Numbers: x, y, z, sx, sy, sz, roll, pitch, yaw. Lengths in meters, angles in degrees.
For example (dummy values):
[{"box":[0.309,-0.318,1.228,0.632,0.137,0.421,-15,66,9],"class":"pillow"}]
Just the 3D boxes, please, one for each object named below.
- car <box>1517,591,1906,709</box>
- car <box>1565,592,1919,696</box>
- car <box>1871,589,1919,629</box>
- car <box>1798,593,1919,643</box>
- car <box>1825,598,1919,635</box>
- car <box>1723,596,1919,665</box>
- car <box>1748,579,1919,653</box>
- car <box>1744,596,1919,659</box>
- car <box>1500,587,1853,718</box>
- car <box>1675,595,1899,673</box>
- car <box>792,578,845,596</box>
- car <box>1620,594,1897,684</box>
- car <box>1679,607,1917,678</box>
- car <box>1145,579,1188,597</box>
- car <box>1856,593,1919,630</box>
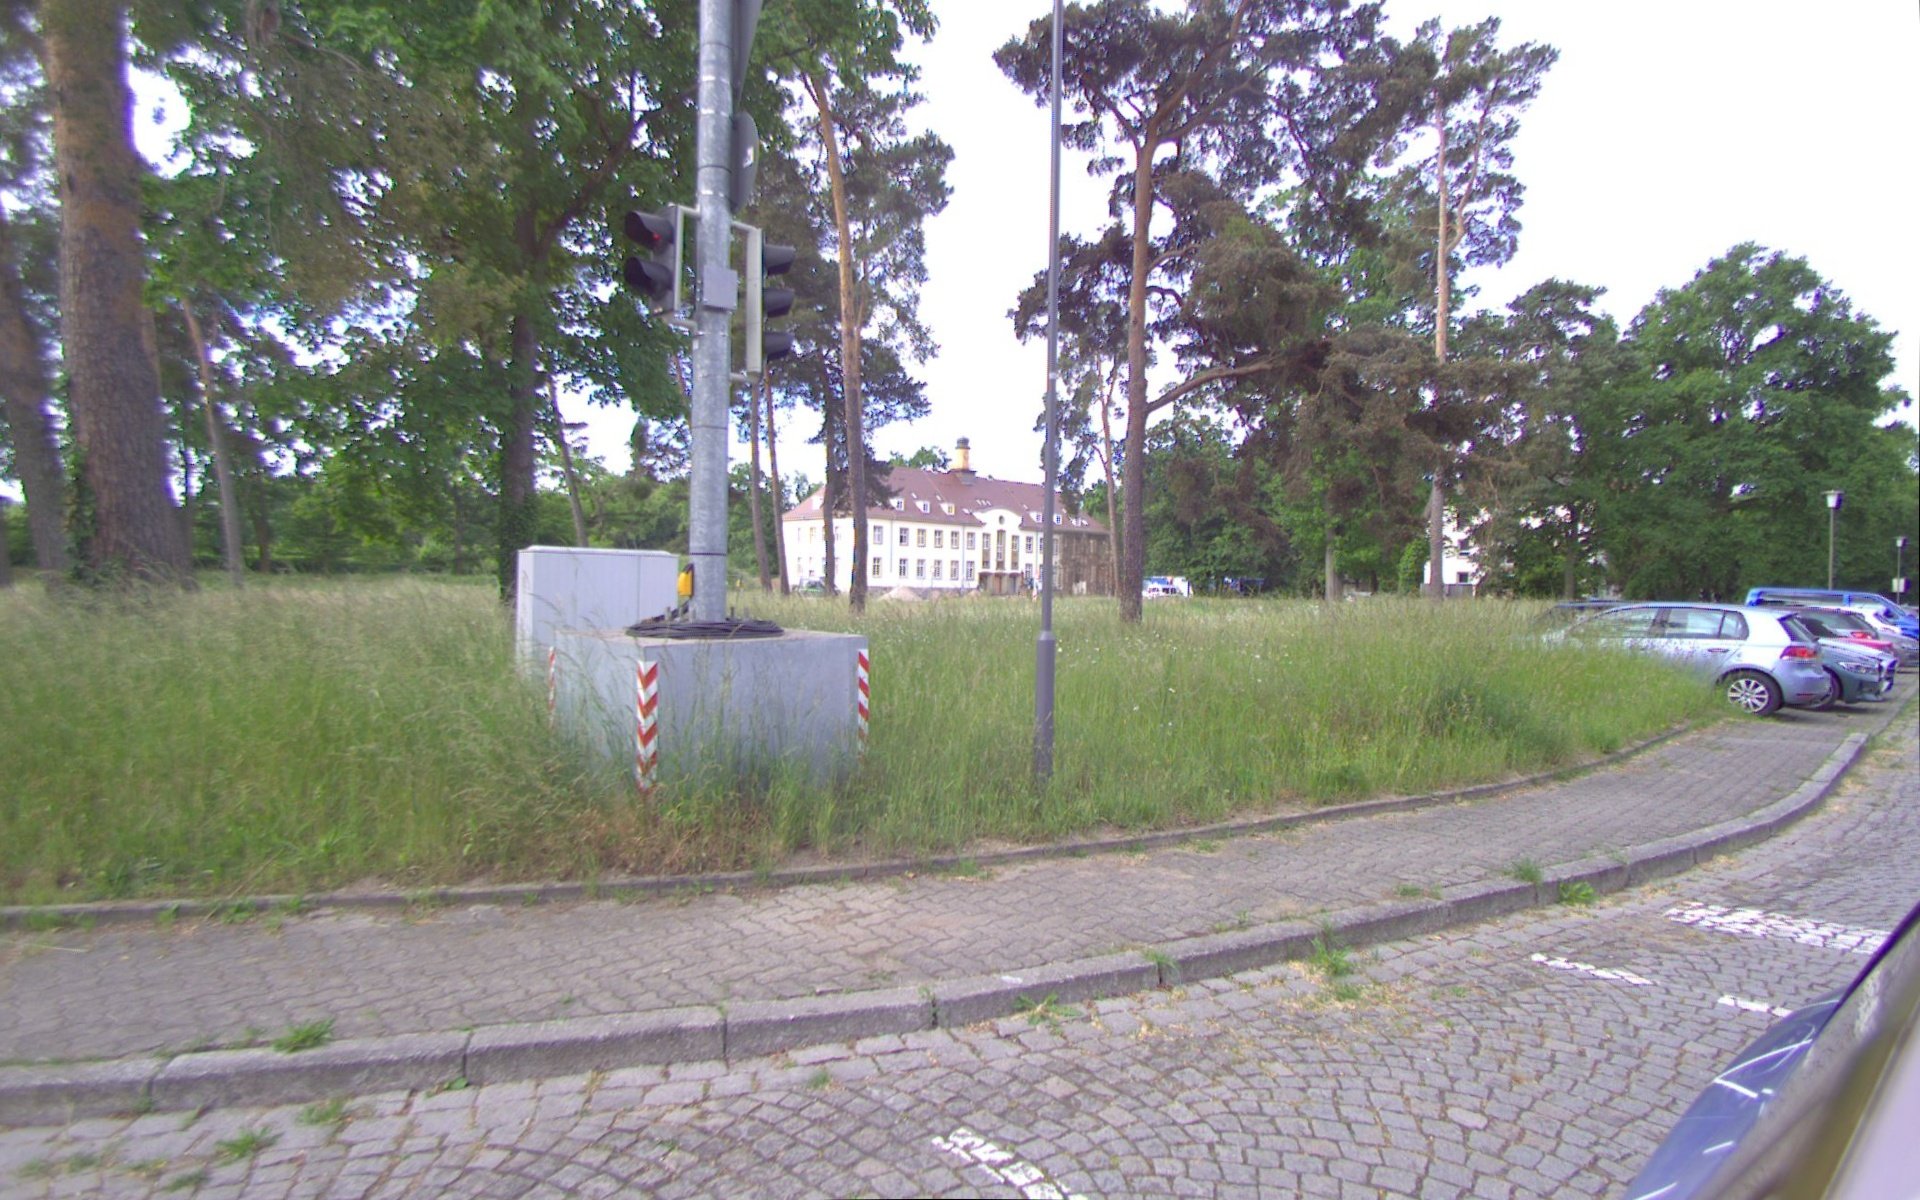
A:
[{"box":[11.704,0.659,16.022,4.758,1.501,1.734,2,1,44],"class":"car"},{"box":[13.717,0.669,18.000,1.782,1.501,4.763,0,1,-43],"class":"car"},{"box":[50.946,0.478,53.470,1.966,2.039,3.993,0,1,-42],"class":"car"},{"box":[33.064,0.627,36.634,1.966,1.630,3.992,0,1,-43],"class":"car"},{"box":[40.234,0.700,43.841,1.966,1.549,3.991,0,0,-43],"class":"car"},{"box":[21.156,0.690,24.616,1.788,1.474,3.847,0,1,-40],"class":"car"},{"box":[26.862,0.442,30.397,1.967,1.963,4.743,0,2,-43],"class":"car"},{"box":[23.003,0.684,26.710,1.609,1.470,3.405,0,1,-42],"class":"car"},{"box":[9.876,0.623,14.159,1.579,1.444,3.768,1,2,-43],"class":"car"},{"box":[18.750,0.702,23.037,1.770,1.524,3.779,0,1,-45],"class":"car"},{"box":[-16.130,-1.462,115.034,6.164,1.882,2.307,2,1,38],"class":"car"},{"box":[15.313,0.668,19.551,1.769,1.470,3.967,0,1,-43],"class":"car"},{"box":[17.162,0.807,20.843,1.469,1.222,3.596,1,1,-42],"class":"car"},{"box":[23.705,-1.358,115.845,5.132,2.039,2.152,0,1,-41],"class":"car"},{"box":[47.661,0.570,50.653,1.966,1.784,4.004,0,1,-42],"class":"car"}]
